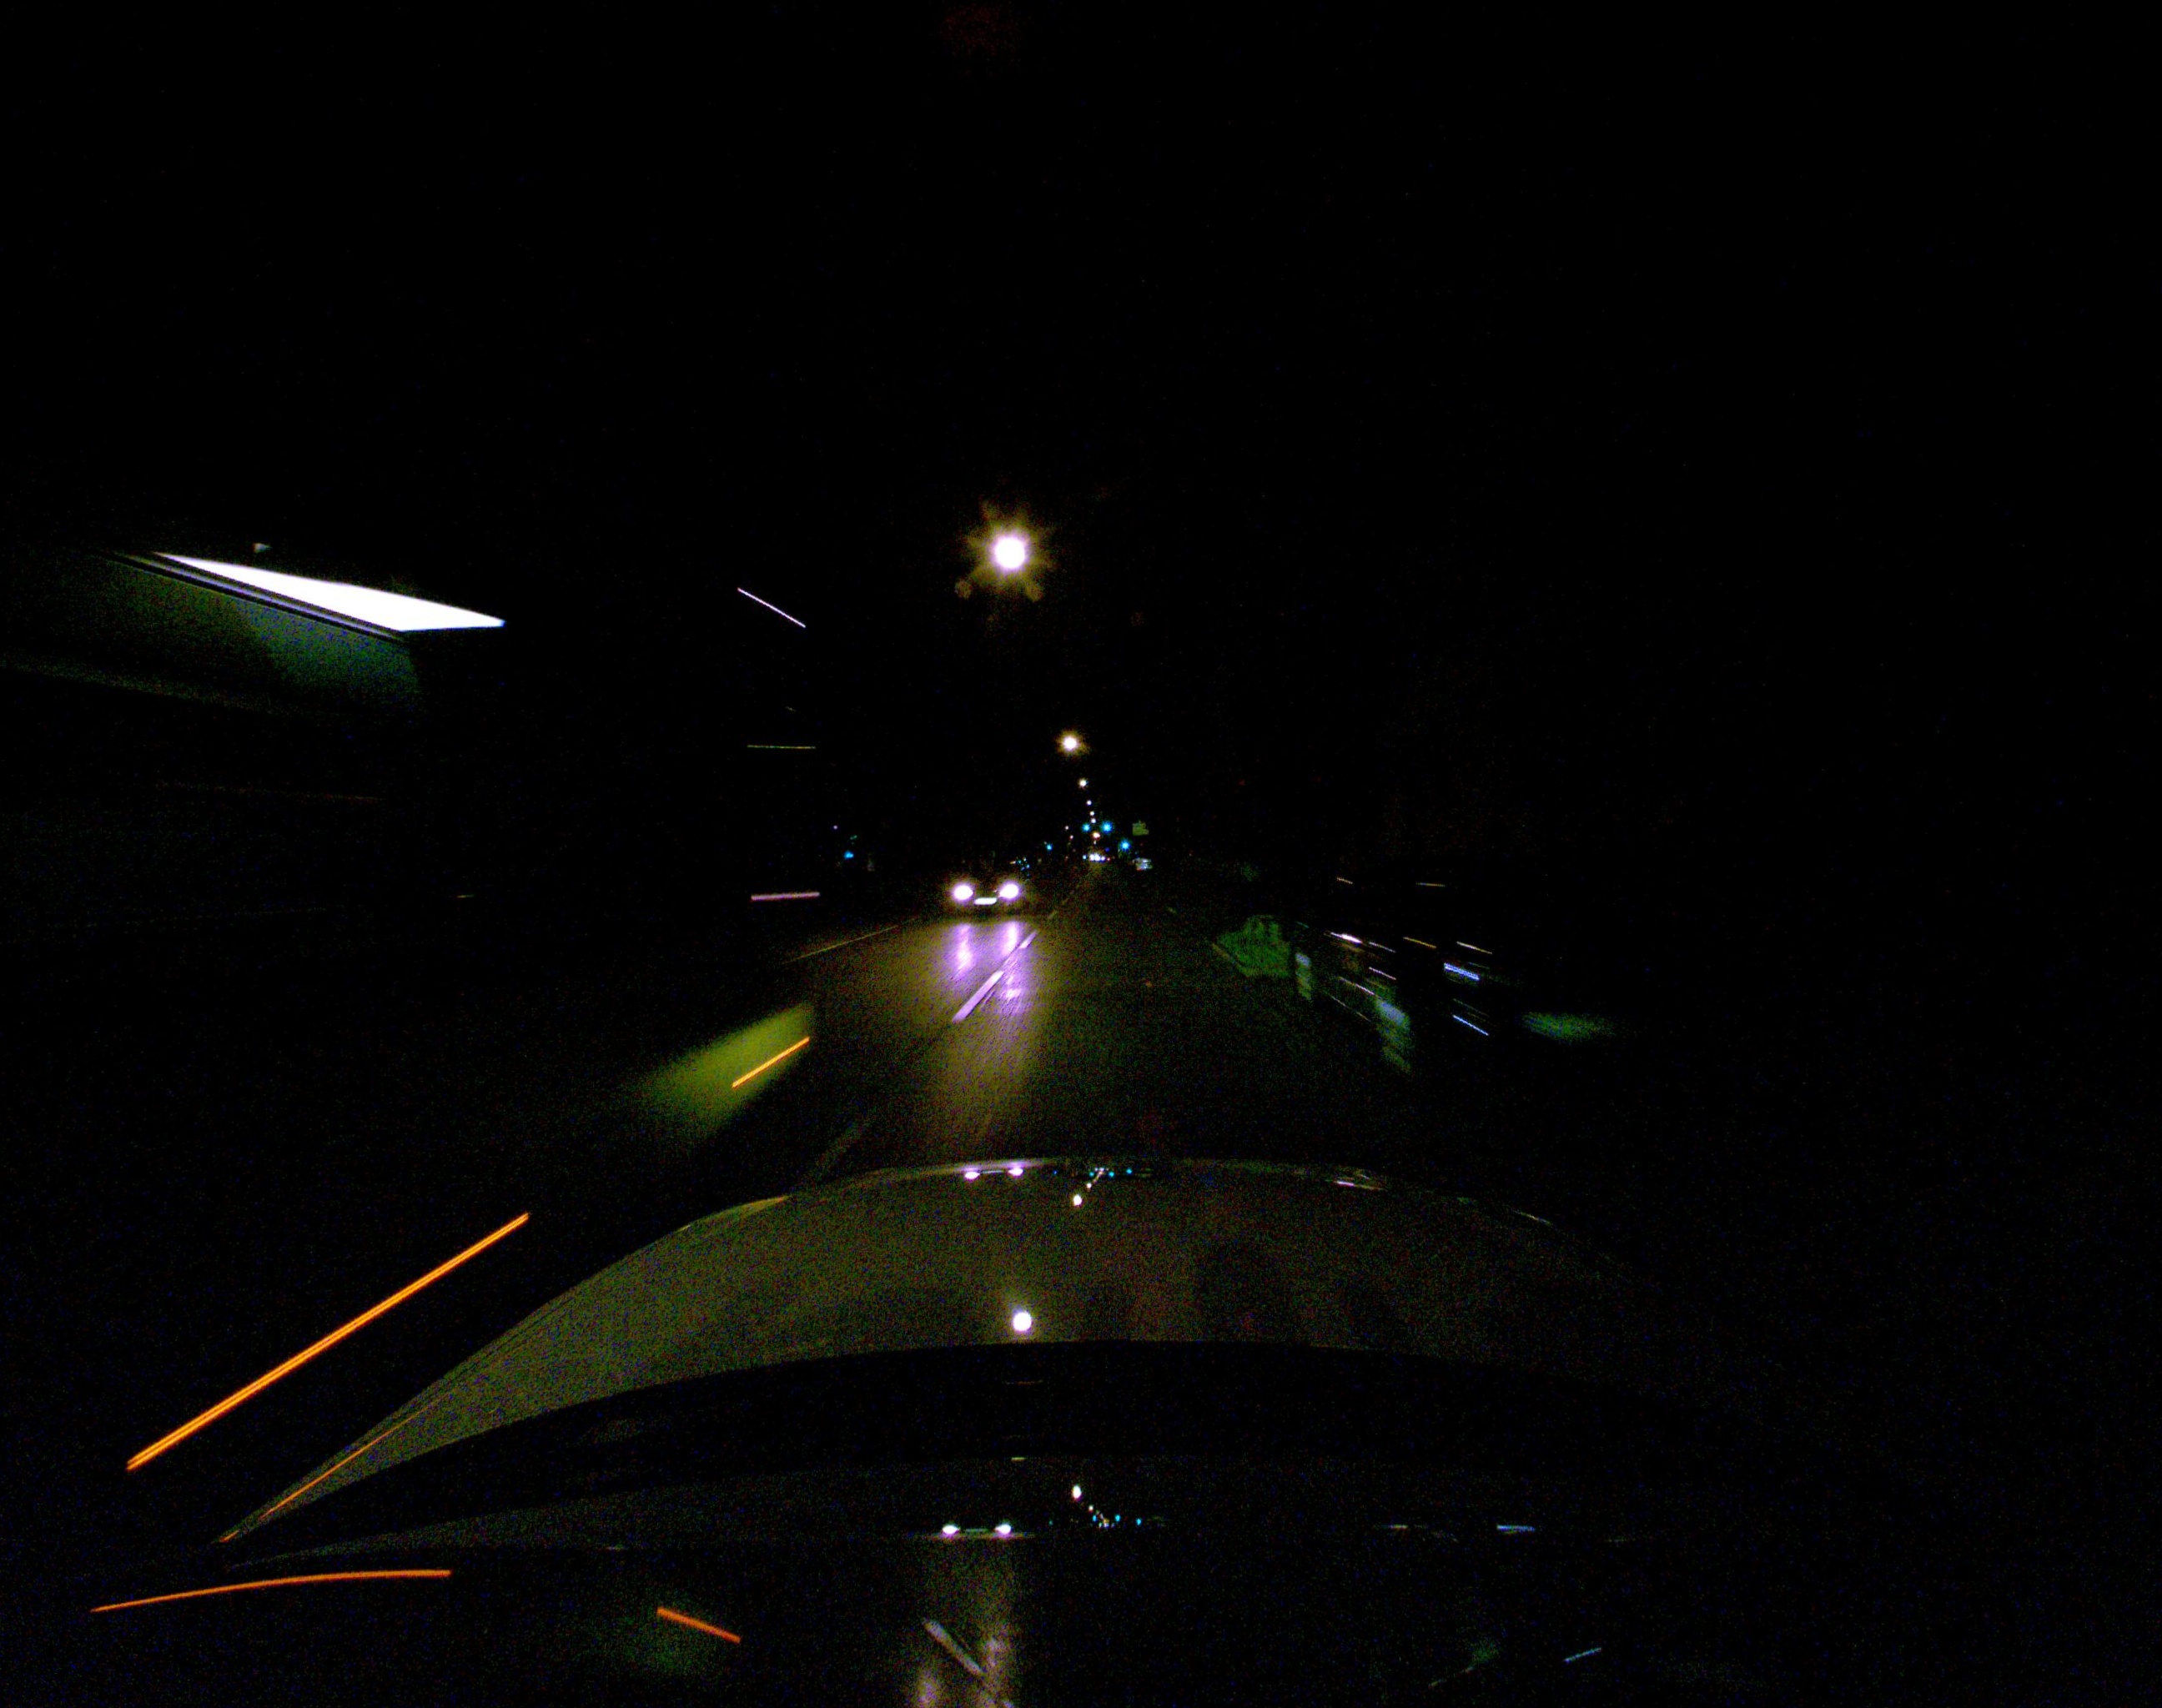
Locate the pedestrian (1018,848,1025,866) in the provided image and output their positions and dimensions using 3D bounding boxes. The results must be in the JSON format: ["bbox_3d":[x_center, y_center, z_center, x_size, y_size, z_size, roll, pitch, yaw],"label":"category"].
[{"bbox_3d":[-5.943,0.296,81.227,0.569,1.700,0.927,-1,-1,-8],"label":"pedestrian"}]

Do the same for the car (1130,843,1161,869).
[{"bbox_3d":[4.318,0.105,55.180,1.805,1.594,4.275,-3,0,2],"label":"car"}]

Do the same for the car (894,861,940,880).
[{"bbox_3d":[-12.975,1.322,64.266,3.224,1.453,1.806,-2,-1,34],"label":"car"}]

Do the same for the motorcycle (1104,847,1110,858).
[{"bbox_3d":[4.007,-0.208,125.494,0.927,1.752,2.626,-1,-1,2],"label":"motorcycle"}]

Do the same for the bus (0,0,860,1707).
[{"bbox_3d":[-2.929,0.050,1.153,2.826,3.177,7.664,-1,0,2],"label":"bus"}]

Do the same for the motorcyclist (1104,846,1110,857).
[{"bbox_3d":[4.002,-0.372,125.540,0.845,1.752,0.806,-1,-1,1],"label":"motorcyclist"}]

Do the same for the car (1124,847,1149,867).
[{"bbox_3d":[4.682,0.225,68.667,1.862,1.526,4.151,-3,0,2],"label":"car"}]

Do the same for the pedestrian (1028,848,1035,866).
[{"bbox_3d":[-4.944,0.326,81.308,0.717,1.765,0.602,-1,-1,-7],"label":"pedestrian"}]

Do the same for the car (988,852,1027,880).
[{"bbox_3d":[-4.054,0.619,45.264,1.715,1.437,4.191,-1,0,1],"label":"car"}]

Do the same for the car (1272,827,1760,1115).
[{"bbox_3d":[2.853,0.621,6.494,1.756,1.476,4.082,-4,0,2],"label":"car"}]

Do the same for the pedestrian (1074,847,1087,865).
[{"bbox_3d":[-0.046,0.188,76.415,0.932,1.699,0.757,1,0,-45],"label":"pedestrian"}]

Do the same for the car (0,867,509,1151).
[{"bbox_3d":[-5.931,0.878,5.806,1.632,1.498,2.767,-2,-1,3],"label":"car"}]

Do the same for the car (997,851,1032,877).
[{"bbox_3d":[-4.012,0.571,49.826,1.715,1.437,4.809,-3,0,0],"label":"car"}]

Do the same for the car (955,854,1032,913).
[{"bbox_3d":[-2.375,0.763,22.937,1.640,1.422,3.871,-3,0,1],"label":"car"}]

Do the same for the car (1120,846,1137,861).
[{"bbox_3d":[5.080,-0.046,87.875,1.624,1.496,3.414,-1,0,0],"label":"car"}]

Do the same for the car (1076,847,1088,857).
[{"bbox_3d":[0.185,-0.282,146.791,1.937,1.717,4.001,-1,-1,2],"label":"car"}]

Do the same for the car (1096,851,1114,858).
[{"bbox_3d":[5.224,0.115,174.972,1.699,1.457,3.946,-2,-1,43],"label":"car"}]
